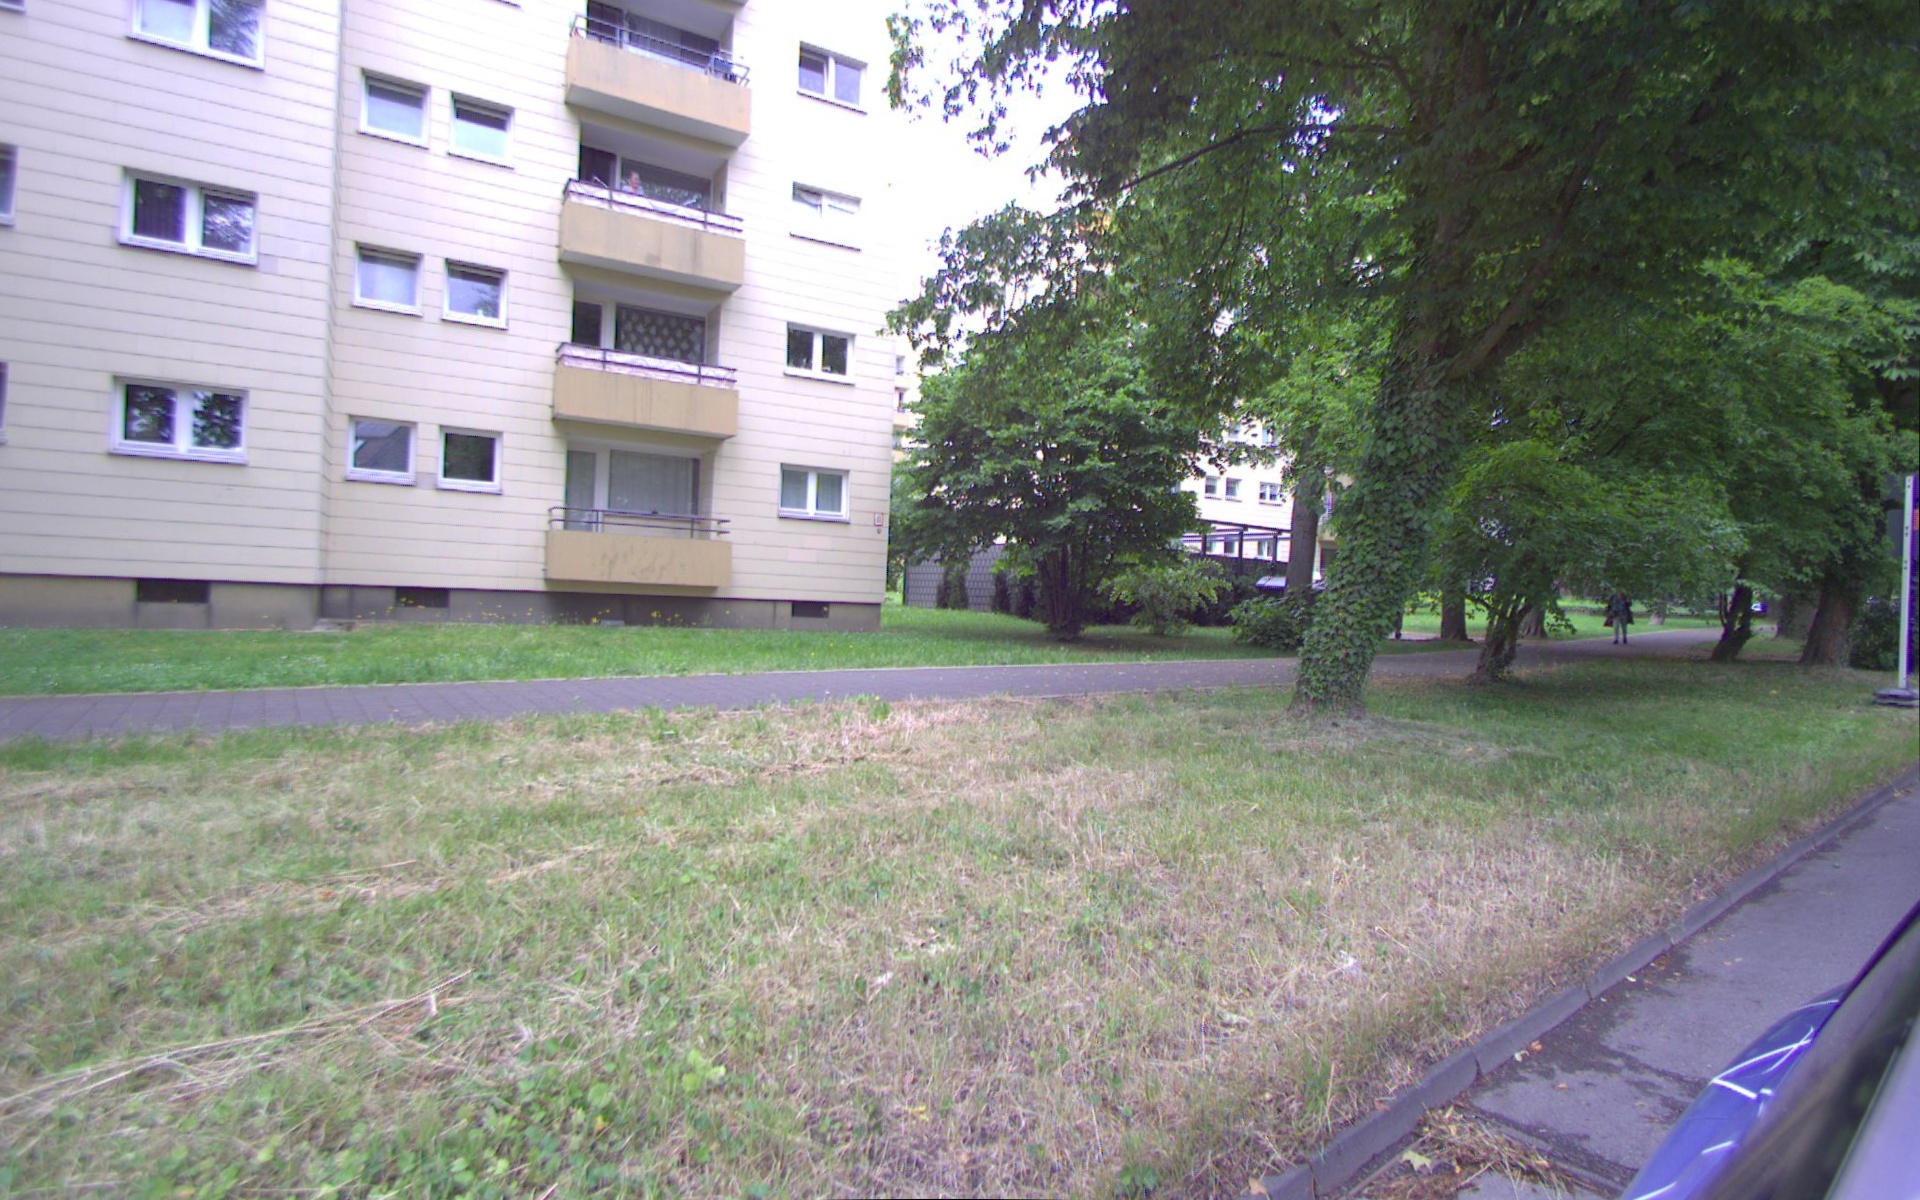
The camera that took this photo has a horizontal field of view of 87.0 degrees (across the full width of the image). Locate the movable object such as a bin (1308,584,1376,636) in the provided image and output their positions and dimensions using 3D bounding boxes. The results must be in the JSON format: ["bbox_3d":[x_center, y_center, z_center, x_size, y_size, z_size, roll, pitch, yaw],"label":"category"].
[{"bbox_3d":[9.666,0.242,25.575,1.190,1.236,1.328,3,2,41],"label":"movable object such as a bin"}]

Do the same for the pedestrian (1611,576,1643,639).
[{"bbox_3d":[19.231,0.207,29.196,0.560,1.761,0.565,1,2,-41],"label":"pedestrian"}]

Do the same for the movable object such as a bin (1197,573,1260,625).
[{"bbox_3d":[7.414,-0.033,27.919,1.190,1.358,1.328,3,2,41],"label":"movable object such as a bin"}]

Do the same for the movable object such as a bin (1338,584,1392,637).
[{"bbox_3d":[10.553,0.264,26.349,1.022,1.320,0.946,3,2,41],"label":"movable object such as a bin"}]

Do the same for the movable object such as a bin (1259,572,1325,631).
[{"bbox_3d":[8.676,0.026,26.447,1.190,1.475,1.328,3,2,41],"label":"movable object such as a bin"}]

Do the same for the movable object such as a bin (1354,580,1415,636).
[{"bbox_3d":[11.354,0.204,27.067,1.190,1.431,1.094,3,2,41],"label":"movable object such as a bin"}]
